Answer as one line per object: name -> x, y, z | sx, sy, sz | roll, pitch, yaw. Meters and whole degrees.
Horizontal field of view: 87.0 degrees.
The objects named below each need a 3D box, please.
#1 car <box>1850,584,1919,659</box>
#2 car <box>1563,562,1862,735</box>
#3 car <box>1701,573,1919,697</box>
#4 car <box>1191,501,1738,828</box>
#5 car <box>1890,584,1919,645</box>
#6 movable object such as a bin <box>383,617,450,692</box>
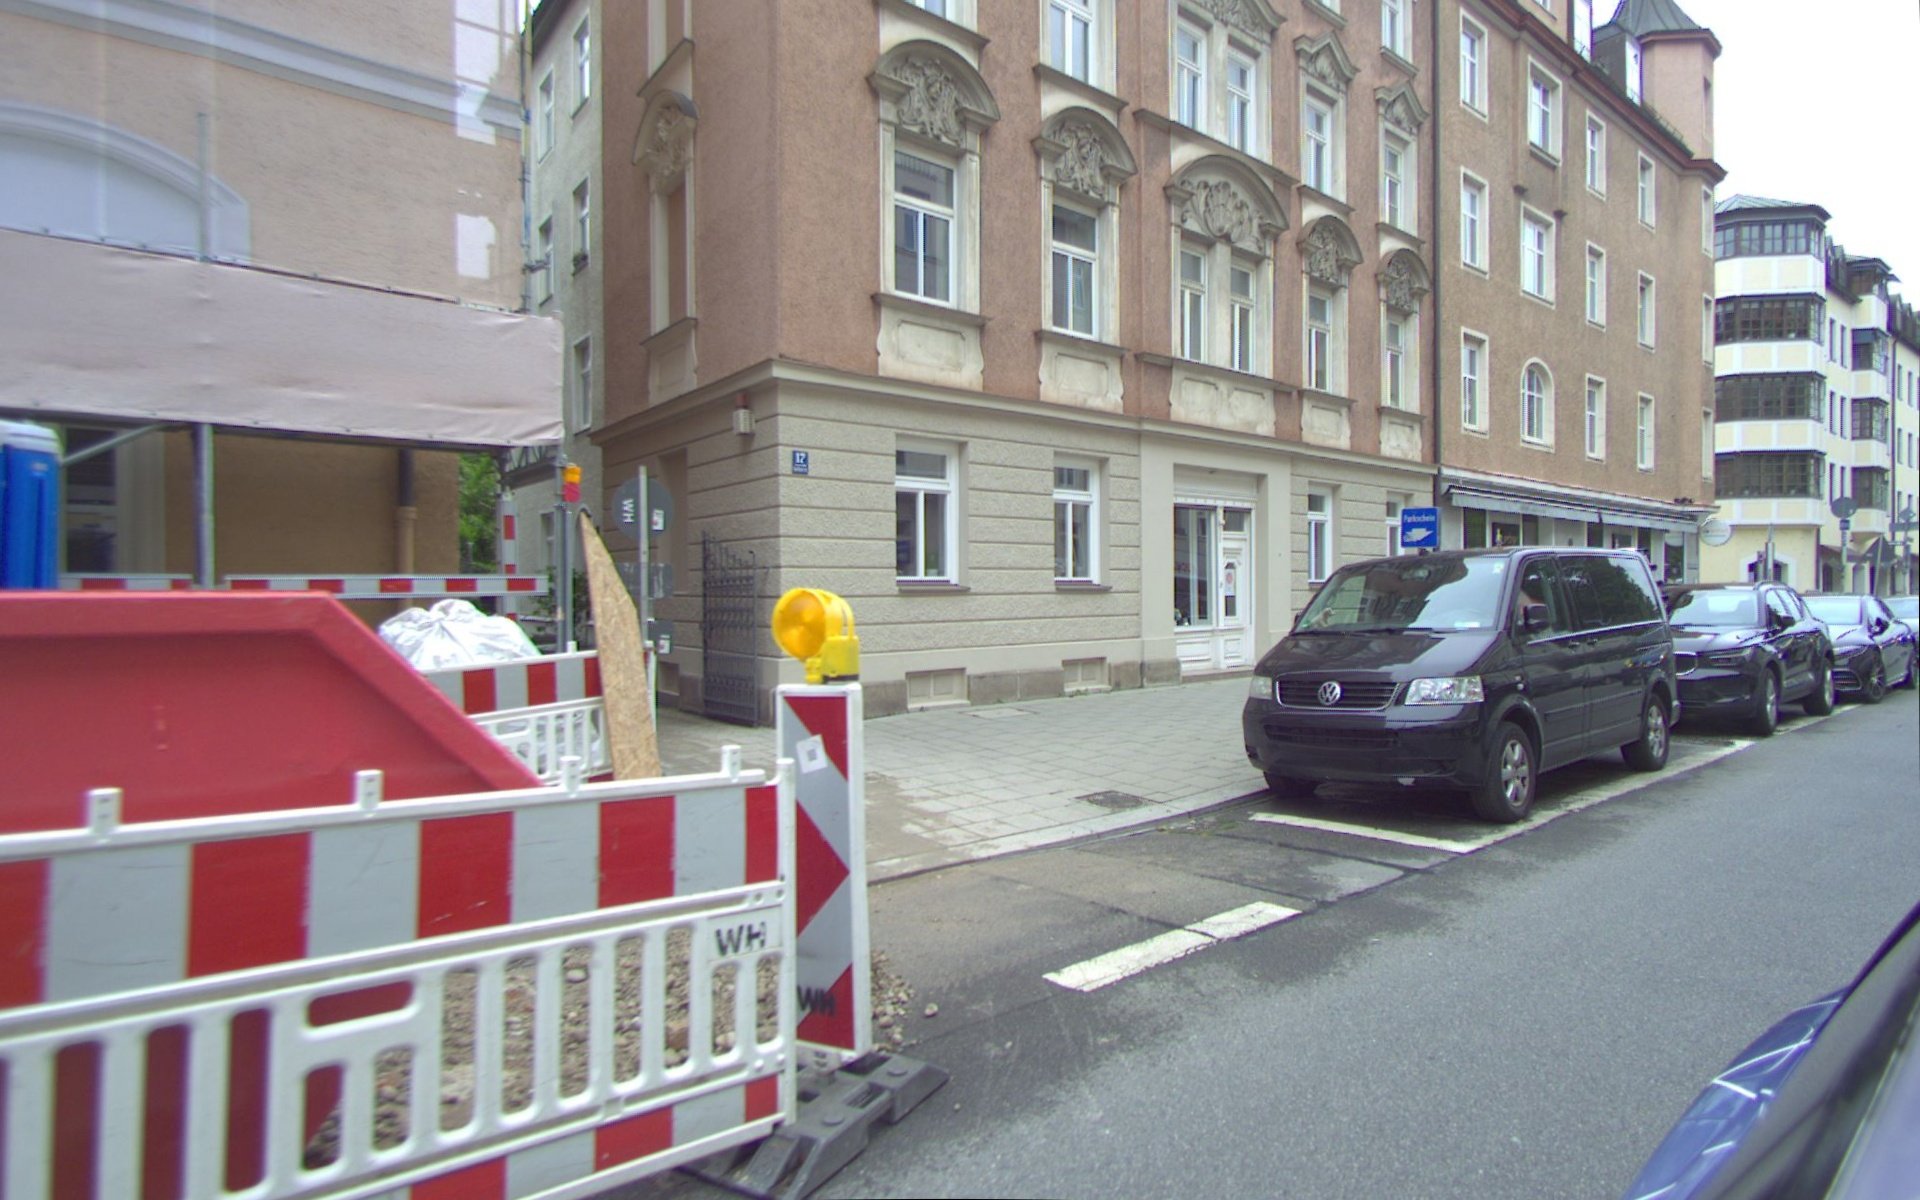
car -> 20.104, 0.395, 21.237 | 4.109, 1.412, 1.575 | -2, 1, -40
car -> 8.977, 0.466, 11.948 | 4.328, 1.698, 1.697 | -1, -2, -38
car -> 13.191, 0.415, 15.330 | 5.537, 1.573, 1.934 | -1, 0, -40
car -> 4.388, 0.349, 8.406 | 5.048, 1.945, 2.087 | -1, 0, -38
car -> 24.486, 0.306, 24.790 | 4.702, 1.423, 1.851 | -1, 0, -39
movable object such as a bin -> -8.903, 0.860, 16.553 | 0.816, 1.123, 1.249 | -1, 1, -35
